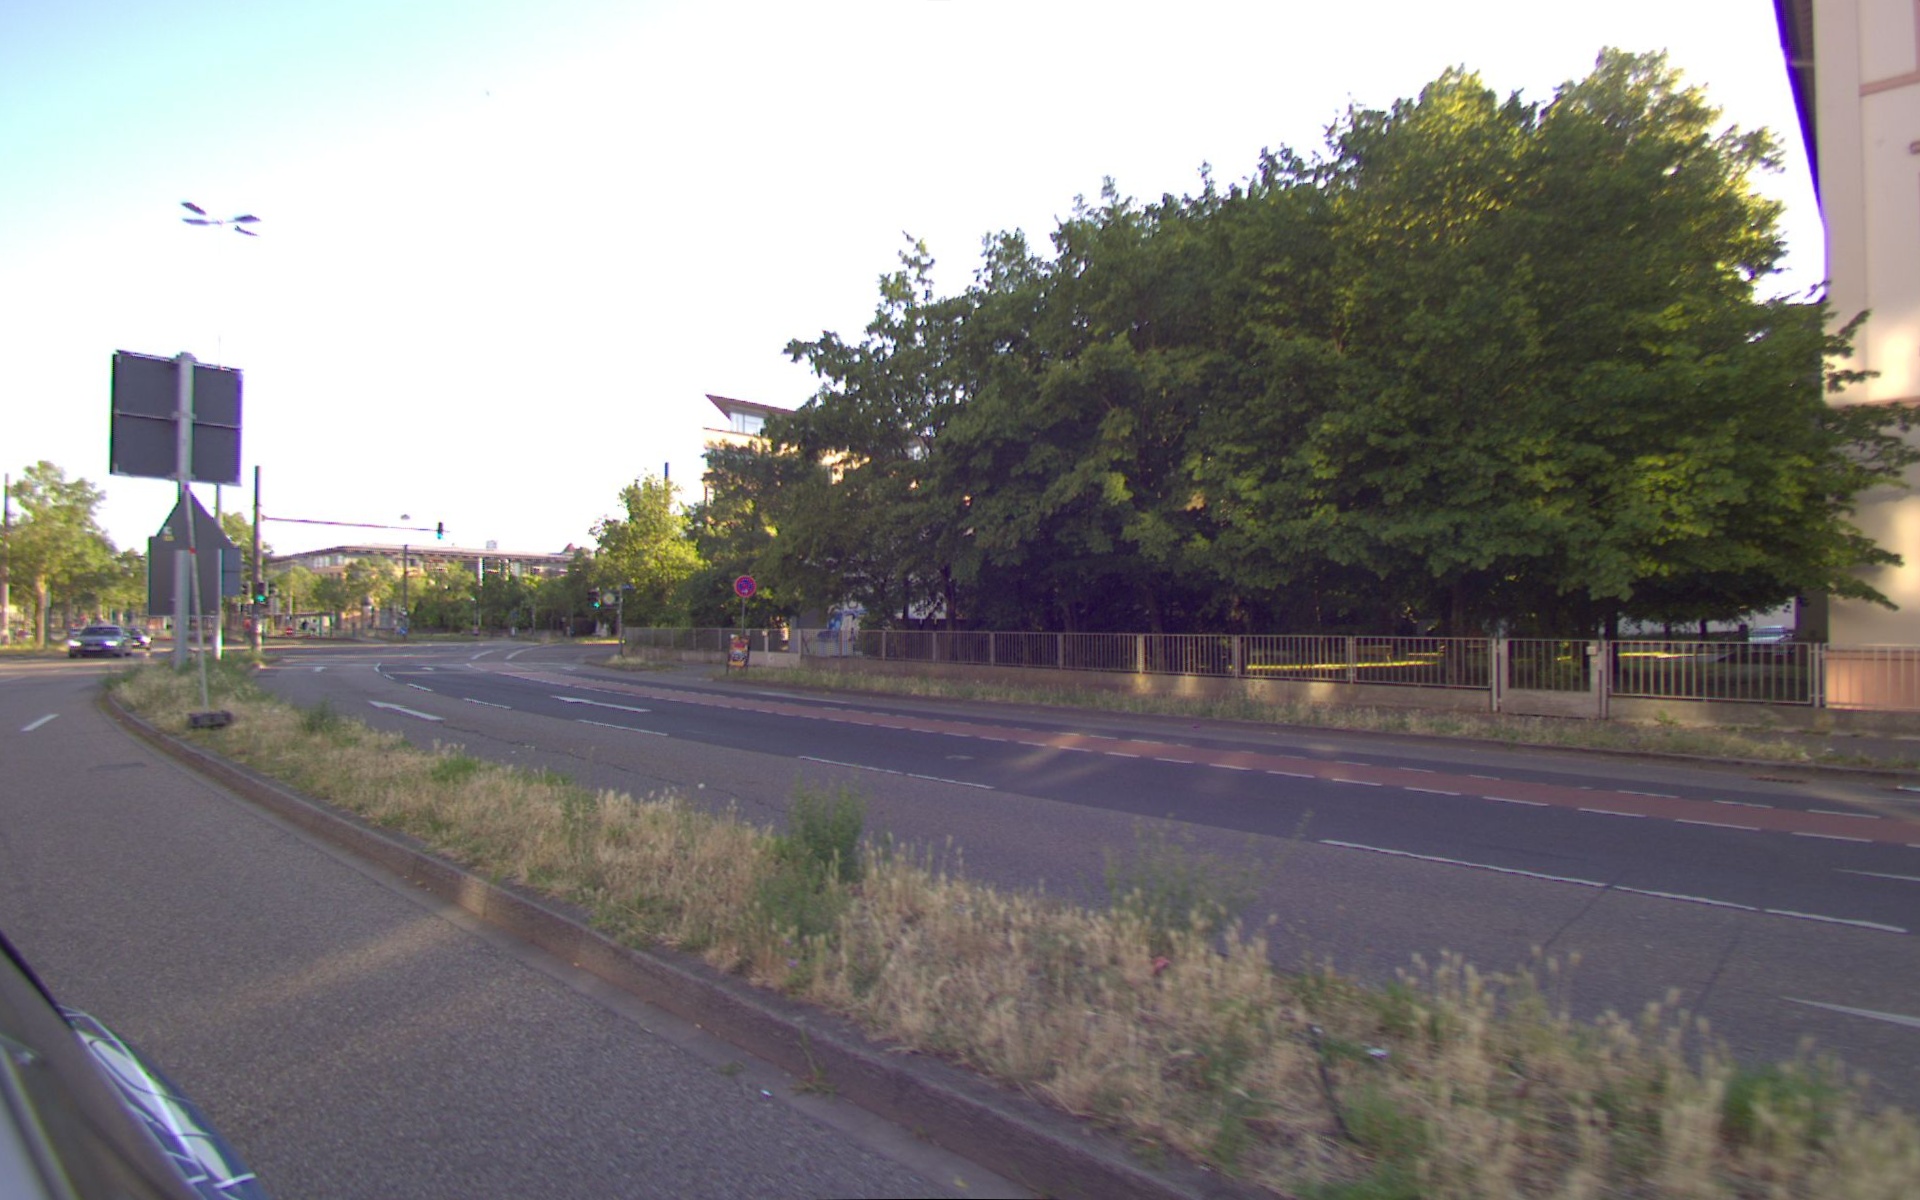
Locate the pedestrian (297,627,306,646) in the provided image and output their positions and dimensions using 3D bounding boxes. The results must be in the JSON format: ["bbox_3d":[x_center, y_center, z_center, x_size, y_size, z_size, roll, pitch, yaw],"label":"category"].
[{"bbox_3d":[-68.822,3.789,105.749,0.664,2.029,0.549,-2,-2,42],"label":"pedestrian"}]

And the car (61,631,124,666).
[{"bbox_3d":[-39.619,2.176,46.182,4.669,1.460,1.794,-2,-1,45],"label":"car"}]

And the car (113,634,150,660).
[{"bbox_3d":[-50.848,2.864,62.113,1.561,1.460,3.877,0,-1,-42],"label":"car"}]

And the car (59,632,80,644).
[{"bbox_3d":[-101.901,4.333,115.825,1.649,1.429,4.448,1,-2,-39],"label":"car"}]
